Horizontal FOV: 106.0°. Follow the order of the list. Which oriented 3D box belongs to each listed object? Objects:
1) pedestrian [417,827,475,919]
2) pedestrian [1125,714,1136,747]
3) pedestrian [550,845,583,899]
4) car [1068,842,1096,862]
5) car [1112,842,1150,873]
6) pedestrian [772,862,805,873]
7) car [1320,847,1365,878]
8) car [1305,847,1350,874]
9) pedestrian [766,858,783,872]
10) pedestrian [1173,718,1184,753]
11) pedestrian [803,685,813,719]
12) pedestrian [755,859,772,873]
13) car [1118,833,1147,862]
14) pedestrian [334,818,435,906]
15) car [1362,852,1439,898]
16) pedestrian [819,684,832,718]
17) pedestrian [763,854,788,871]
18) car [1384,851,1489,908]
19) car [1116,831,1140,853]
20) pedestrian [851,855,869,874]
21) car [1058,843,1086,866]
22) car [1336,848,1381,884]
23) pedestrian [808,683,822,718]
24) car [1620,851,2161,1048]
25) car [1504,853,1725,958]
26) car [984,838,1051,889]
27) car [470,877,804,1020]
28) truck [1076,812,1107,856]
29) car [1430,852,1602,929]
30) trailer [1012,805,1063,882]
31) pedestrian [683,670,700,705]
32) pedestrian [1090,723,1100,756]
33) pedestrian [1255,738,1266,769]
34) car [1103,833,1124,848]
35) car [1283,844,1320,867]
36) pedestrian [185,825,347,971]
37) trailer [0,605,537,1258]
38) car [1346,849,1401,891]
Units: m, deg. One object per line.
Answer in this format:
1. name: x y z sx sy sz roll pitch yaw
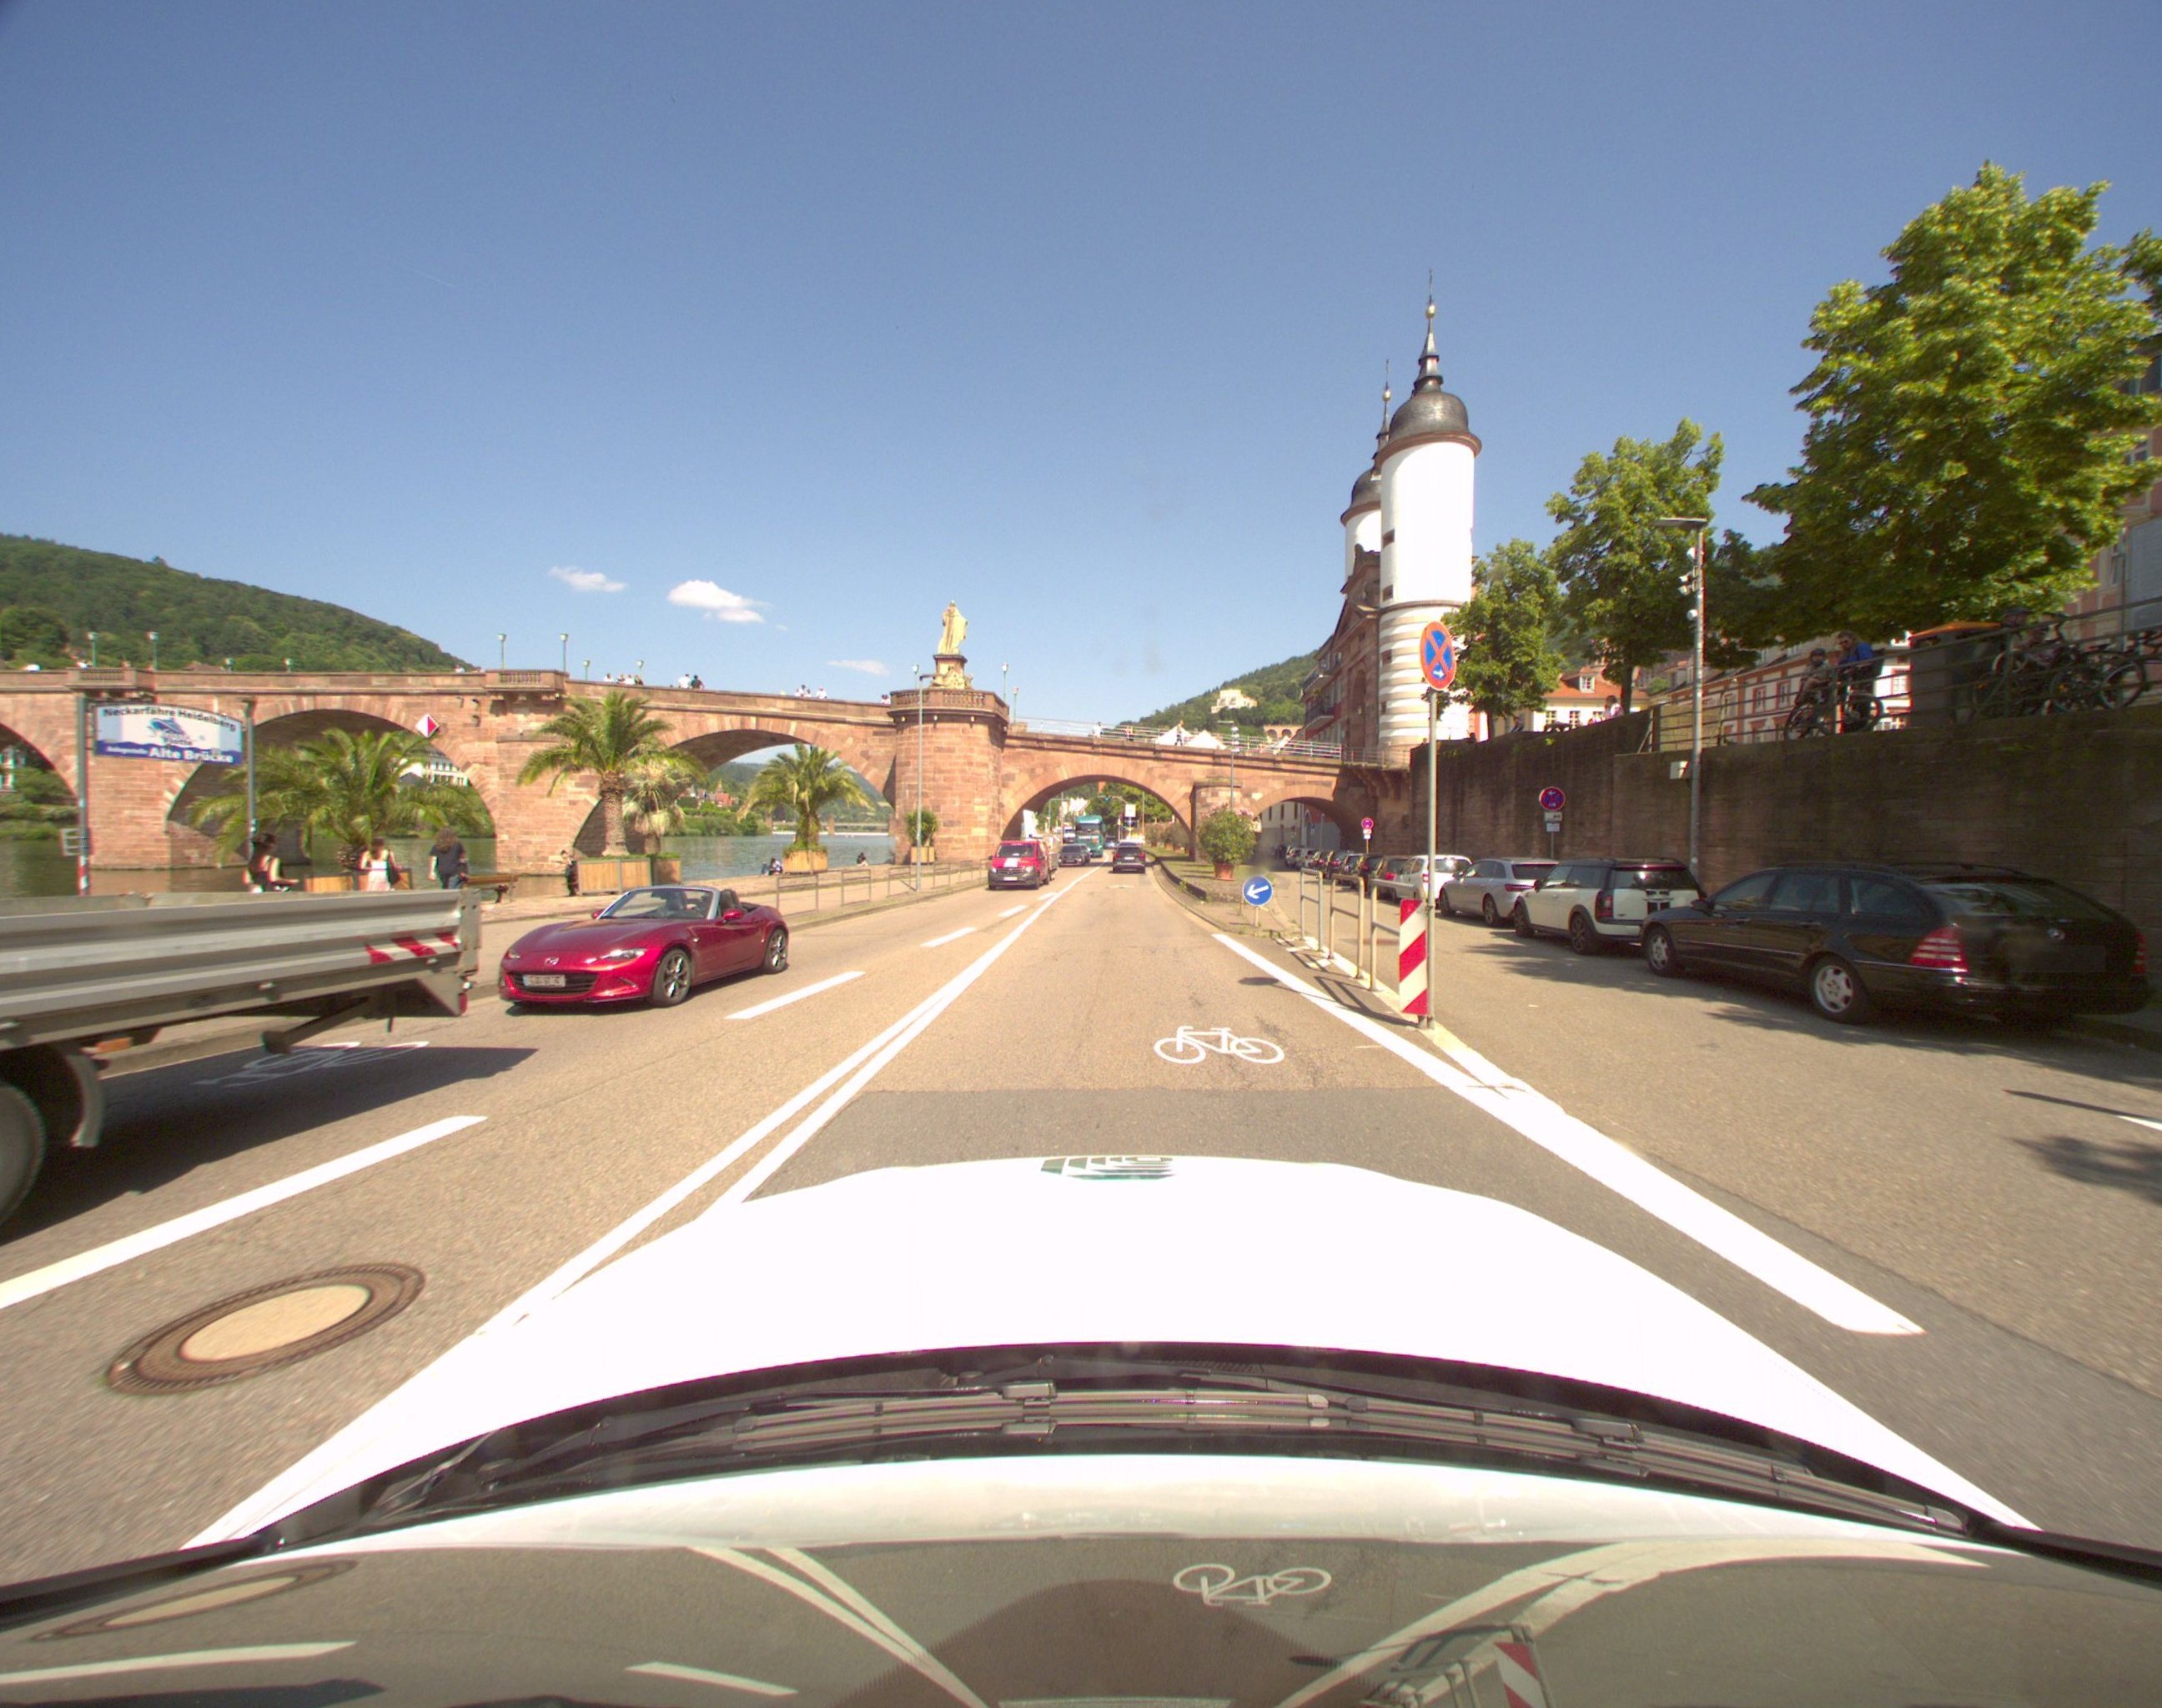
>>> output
1. pedestrian: -12.119 0.333 15.574 0.799 1.691 0.837 0 1 -34
2. pedestrian: 3.194 -7.949 52.320 0.681 2.013 0.587 0 0 4
3. pedestrian: -15.763 0.545 24.963 0.678 1.601 0.592 0 1 -13
4. car: 0.093 -0.158 63.374 1.714 1.436 4.408 -1 0 6
5. car: 2.784 0.153 44.908 1.847 1.523 4.008 0 2 7
6. pedestrian: -12.682 0.582 35.372 0.642 0.421 1.745 -1 1 5
7. car: 13.709 0.402 42.906 1.764 1.502 3.998 -1 1 10
8. car: 14.496 0.350 48.090 1.766 1.436 4.501 0 1 7
9. pedestrian: -13.702 0.484 36.375 0.460 0.564 0.517 -4 0 14
10. pedestrian: 5.888 -7.117 49.009 0.620 2.013 0.696 0 0 5
11. pedestrian: -17.189 -9.564 51.221 0.457 2.013 0.554 0 0 -3
12. pedestrian: -13.688 0.518 35.126 0.460 0.564 0.517 -4 0 14
13. car: 3.824 -0.476 59.784 1.983 2.013 4.007 0 1 6
14. pedestrian: -12.916 0.134 15.147 0.790 1.534 1.117 -4 0 5
15. car: 10.563 0.641 27.208 1.699 1.388 4.423 -1 0 12
16. pedestrian: -15.930 -9.552 50.804 0.622 2.013 0.694 0 0 -3
17. pedestrian: -13.741 0.375 36.673 0.781 0.742 0.713 1 1 14
18. car: 9.966 0.662 23.113 1.702 1.457 3.553 0 0 5
19. car: 4.407 -1.100 76.418 1.987 2.013 3.999 0 1 -1
20. pedestrian: -14.486 0.676 53.401 0.722 1.241 1.148 0 0 8
21. car: -0.577 -0.006 55.031 1.527 1.436 3.733 -1 1 4
22. car: 12.403 0.496 36.607 1.580 1.520 3.918 0 1 14
23. pedestrian: -16.541 -9.546 50.671 0.622 2.013 0.694 0 0 -3
24. car: 7.789 0.717 8.493 1.832 1.450 4.544 0 1 8
25. car: 8.480 0.718 13.368 1.602 1.413 3.914 0 0 9
26. car: -2.422 0.317 32.214 1.865 1.827 4.551 -1 1 5
27. car: -4.837 0.947 9.527 1.663 1.194 3.634 -1 0 5
28. truck: 1.032 -1.827 73.633 2.513 3.748 6.251 -1 2 3
29. car: 9.415 0.705 18.110 1.744 1.432 4.765 0 1 6
30. trailer: -1.937 -0.487 37.377 1.733 3.320 3.389 -1 1 6
31. pedestrian: -24.167 -10.323 50.509 0.690 2.013 0.626 0 0 0
32. pedestrian: 0.910 -7.318 52.190 0.578 2.013 0.587 0 0 4
33. pedestrian: 11.907 -6.660 54.012 0.681 2.013 0.587 0 0 4
34. car: 3.807 -1.556 95.731 1.989 1.662 3.995 0 0 -3
35. car: 15.586 0.054 57.792 1.883 1.492 4.426 0 1 7
36. pedestrian: -10.088 0.509 10.132 0.812 1.701 1.153 1 0 5
37. trailer: -5.639 0.325 2.448 2.683 2.531 6.961 -1 0 7
38. car: 11.395 0.571 31.918 1.485 1.484 3.728 0 1 11
